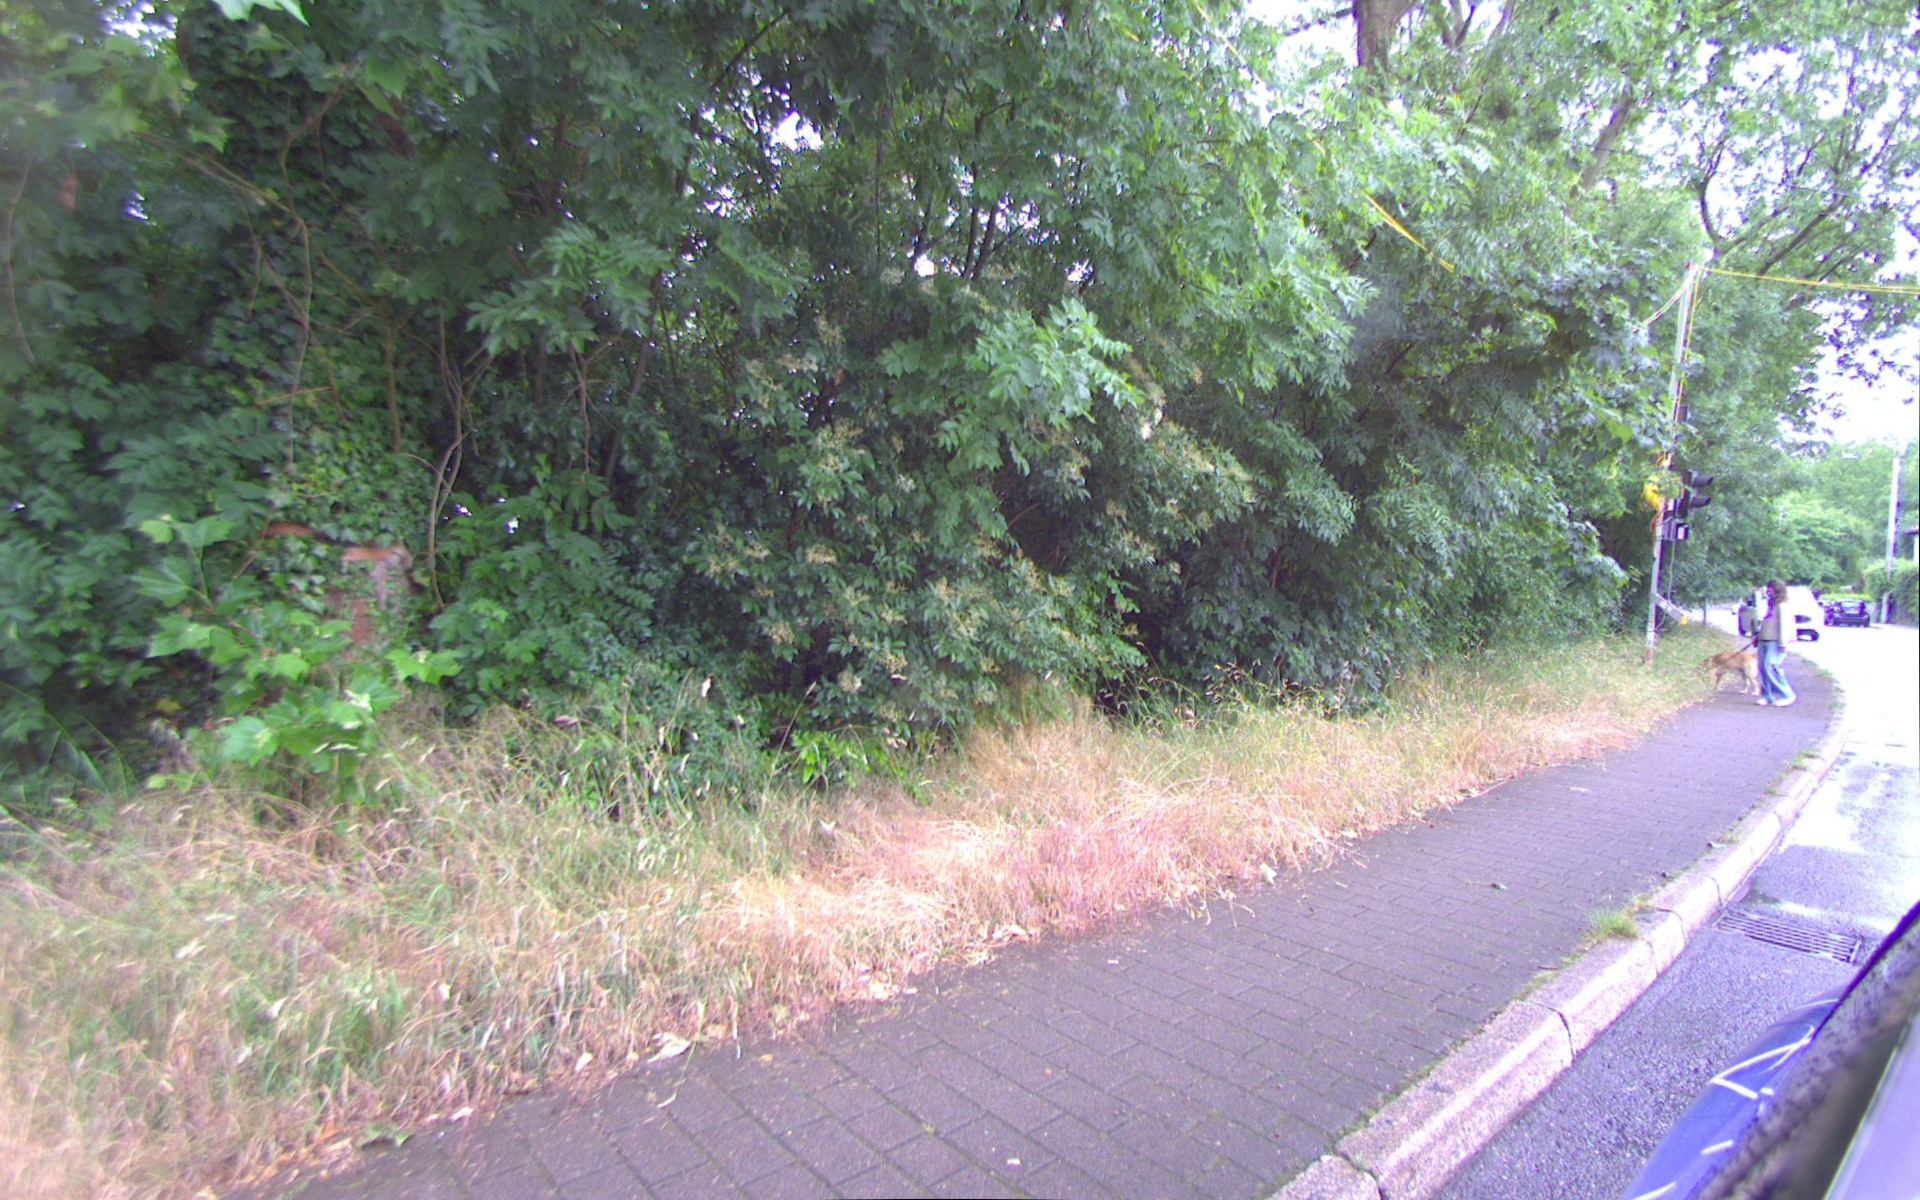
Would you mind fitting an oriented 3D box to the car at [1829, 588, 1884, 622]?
[{"bbox_3d":[51.072,0.282,57.712,1.869,1.848,4.075,1,1,35],"label":"car"}]

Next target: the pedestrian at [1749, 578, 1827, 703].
[{"bbox_3d":[10.525,0.490,12.891,0.731,1.518,0.774,0,0,37],"label":"pedestrian"}]

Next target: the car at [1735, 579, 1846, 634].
[{"bbox_3d":[31.689,0.215,38.807,2.081,1.943,5.046,0,0,25],"label":"car"}]
